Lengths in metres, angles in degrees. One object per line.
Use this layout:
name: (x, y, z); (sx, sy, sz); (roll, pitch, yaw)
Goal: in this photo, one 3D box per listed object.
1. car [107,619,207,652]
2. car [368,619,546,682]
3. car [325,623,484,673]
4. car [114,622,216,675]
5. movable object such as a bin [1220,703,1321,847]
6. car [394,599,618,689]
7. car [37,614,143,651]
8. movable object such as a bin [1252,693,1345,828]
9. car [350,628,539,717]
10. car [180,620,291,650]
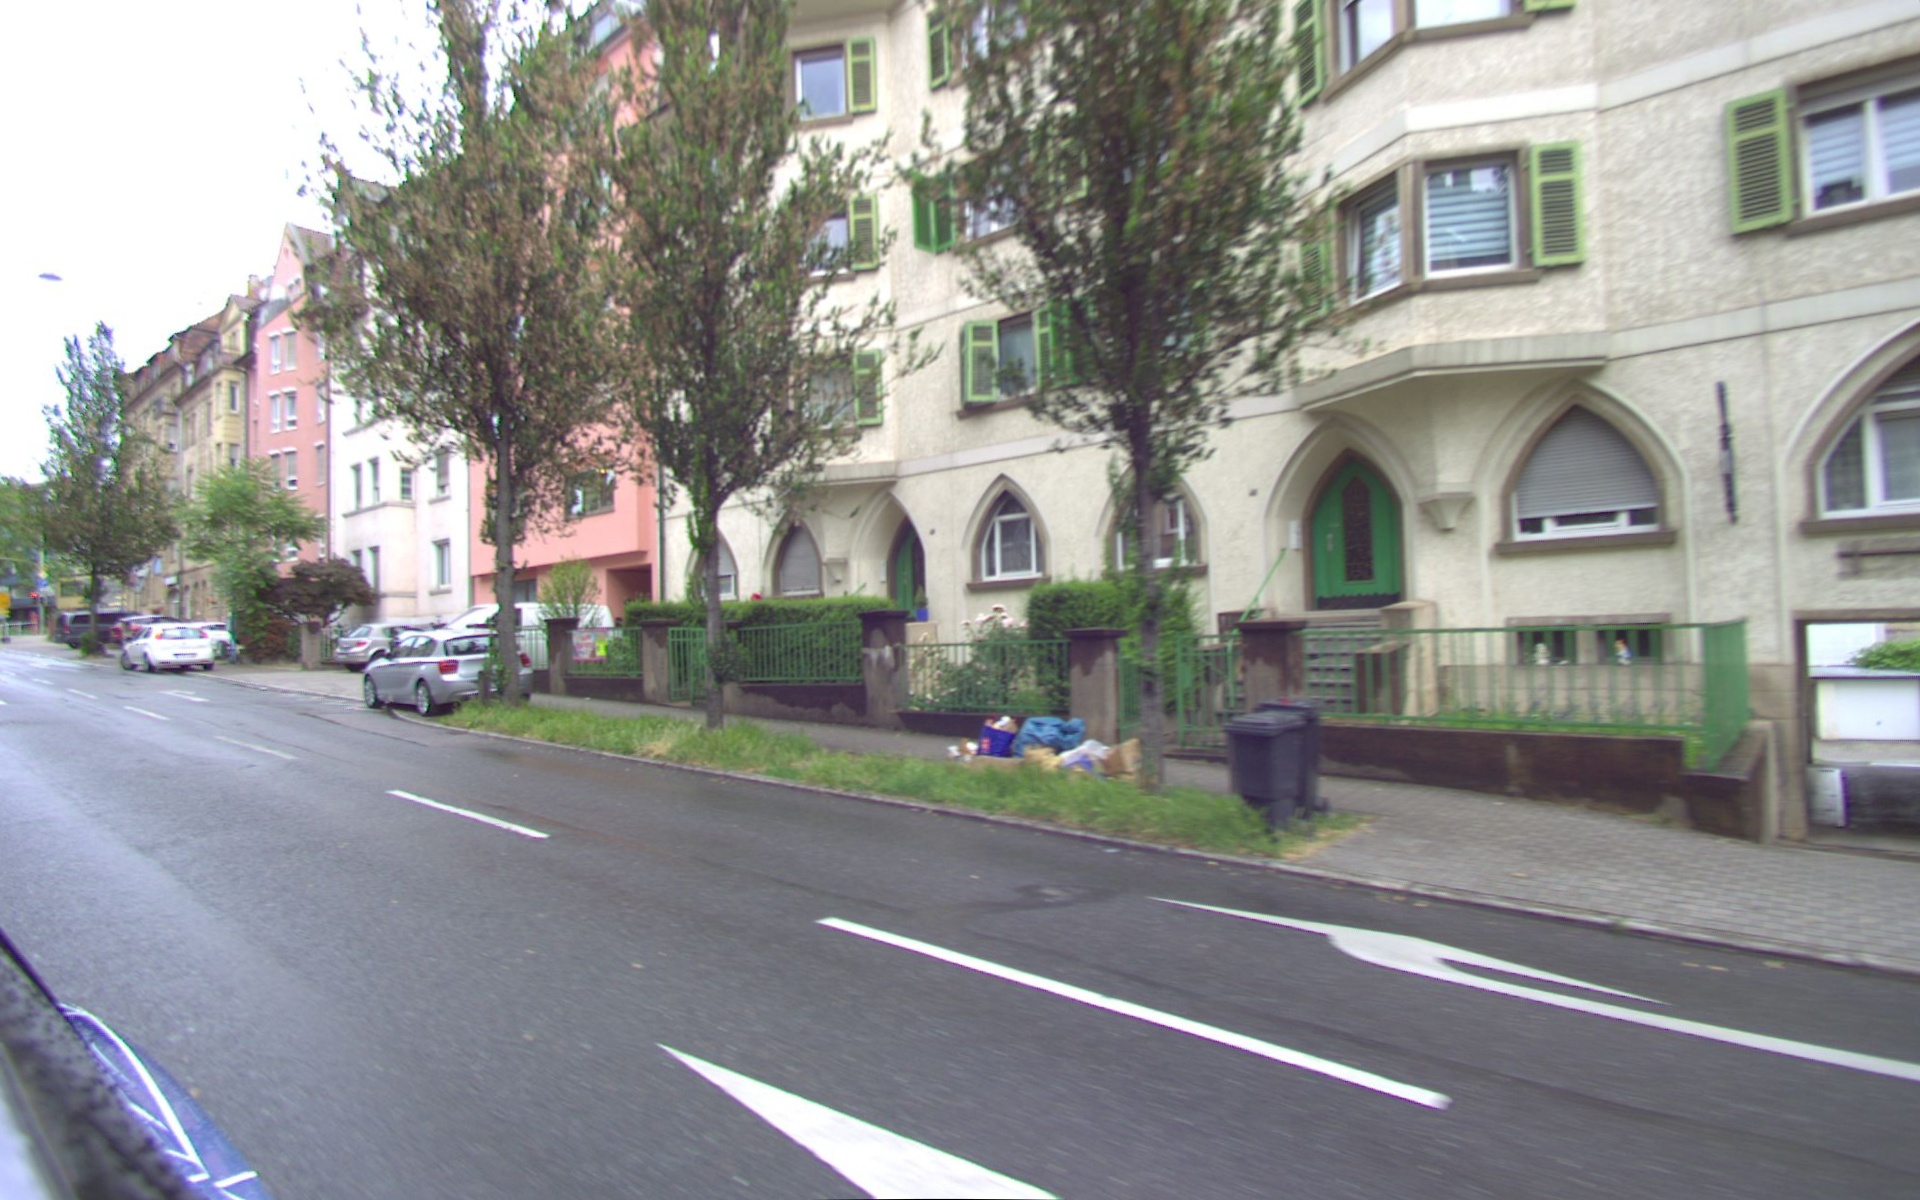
car: (-42.037, 1.827, 53.055); (1.592, 1.634, 3.877); (-1, -1, 41)
car: (-13.308, 1.280, 26.950); (1.758, 1.408, 3.880); (0, 1, 39)
car: (-16.817, 1.420, 30.806); (1.721, 1.408, 3.885); (0, -1, 35)
car: (-24.766, 1.455, 31.501); (3.647, 1.483, 1.650); (0, 1, 38)
movable object such as a bin: (2.172, 1.202, 7.083); (0.572, 0.896, 0.360); (0, 1, 41)
car: (-10.999, 0.974, 24.827); (1.917, 1.919, 4.672); (0, 1, 39)
car: (-45.158, 1.653, 52.596); (1.865, 1.861, 3.881); (-1, -1, 39)
movable object such as a bin: (2.577, 1.202, 7.717); (0.572, 0.918, 0.360); (0, 1, 41)
car: (-9.417, 1.229, 18.351); (4.136, 1.428, 1.663); (-1, -2, 42)
car: (-33.257, 1.586, 46.547); (1.646, 1.307, 3.877); (-1, -1, 41)
